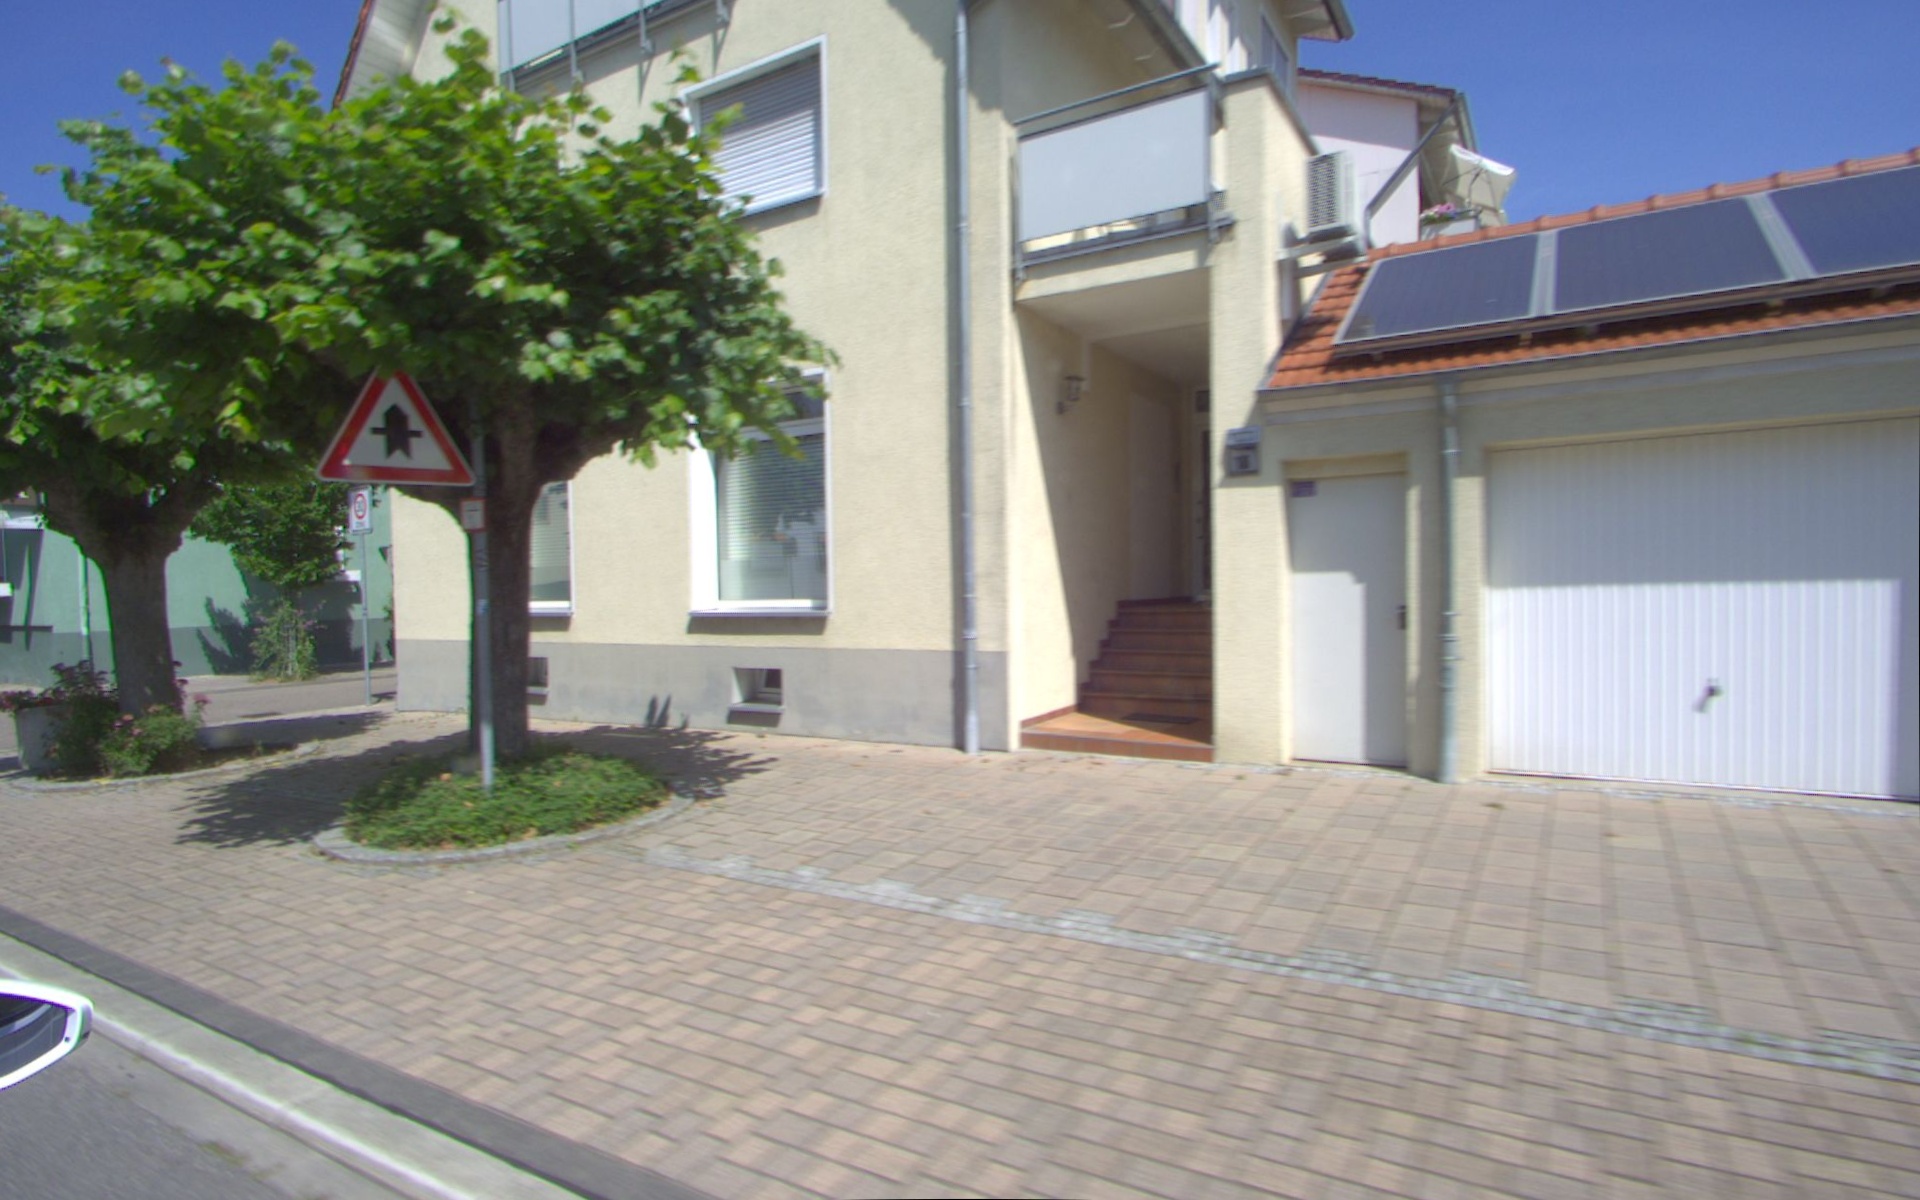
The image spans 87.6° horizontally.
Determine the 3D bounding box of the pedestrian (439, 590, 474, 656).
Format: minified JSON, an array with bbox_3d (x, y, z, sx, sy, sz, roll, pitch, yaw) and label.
[{"bbox_3d":[-12.178,0.560,24.216,0.537,1.590,0.544,-1,-1,28],"label":"pedestrian"}]
